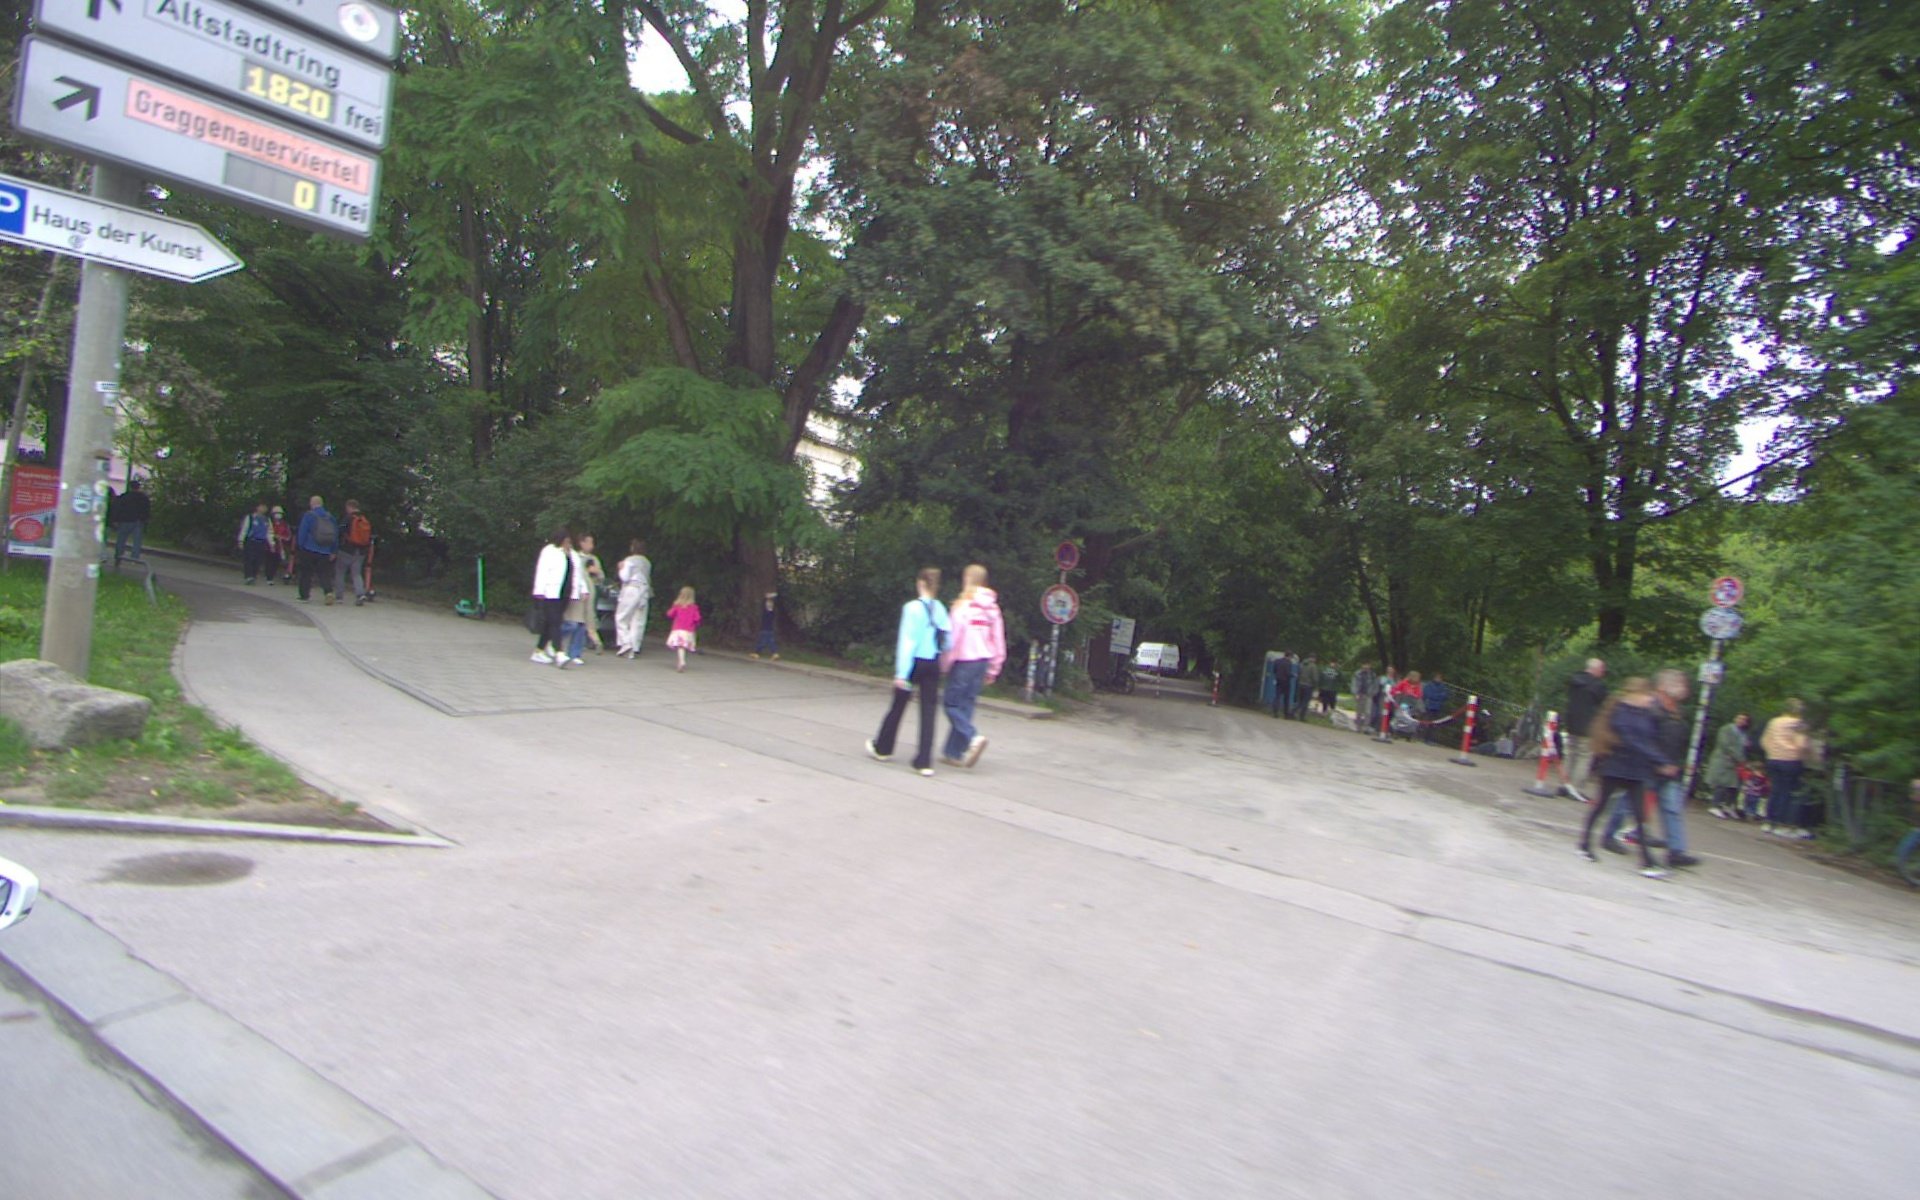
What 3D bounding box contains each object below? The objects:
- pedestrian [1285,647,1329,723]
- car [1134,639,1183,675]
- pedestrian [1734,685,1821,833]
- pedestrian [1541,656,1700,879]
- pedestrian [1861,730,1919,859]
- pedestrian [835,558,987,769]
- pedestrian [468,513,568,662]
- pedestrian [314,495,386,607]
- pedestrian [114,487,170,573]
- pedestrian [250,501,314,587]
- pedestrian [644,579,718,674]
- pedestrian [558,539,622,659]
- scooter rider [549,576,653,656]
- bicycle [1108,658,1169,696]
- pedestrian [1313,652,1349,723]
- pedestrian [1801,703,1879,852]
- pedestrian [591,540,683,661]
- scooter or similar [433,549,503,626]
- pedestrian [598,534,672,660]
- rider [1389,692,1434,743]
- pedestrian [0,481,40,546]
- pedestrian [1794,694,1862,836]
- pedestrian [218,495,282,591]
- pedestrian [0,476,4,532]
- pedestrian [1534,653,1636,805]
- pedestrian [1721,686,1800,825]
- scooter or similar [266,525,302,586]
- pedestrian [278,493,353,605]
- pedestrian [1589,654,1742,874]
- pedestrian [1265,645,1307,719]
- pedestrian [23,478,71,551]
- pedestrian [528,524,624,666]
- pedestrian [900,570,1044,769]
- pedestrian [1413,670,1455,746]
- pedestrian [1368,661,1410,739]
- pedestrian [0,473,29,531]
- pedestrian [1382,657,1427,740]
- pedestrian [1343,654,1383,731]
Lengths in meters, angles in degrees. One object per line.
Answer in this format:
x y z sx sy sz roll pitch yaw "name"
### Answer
8.286 2.020 24.029 0.600 1.716 0.693 7 -1 -1 "pedestrian"
17.750 5.069 90.075 2.115 2.690 5.474 7 -2 -11 "car"
10.531 2.038 12.963 0.516 1.784 0.564 7 -1 -27 "pedestrian"
5.154 1.277 7.890 0.600 1.596 0.693 7 -1 -3 "pedestrian"
11.706 2.415 12.547 0.405 1.491 0.513 7 -1 -36 "pedestrian"
-0.425 0.537 8.596 0.752 1.663 0.839 8 -1 -43 "pedestrian"
-5.272 -0.148 11.998 0.752 1.663 0.643 8 -1 -43 "pedestrian"
-10.751 -0.862 17.735 0.836 1.844 0.589 7 -1 33 "pedestrian"
-18.045 -1.550 22.189 0.784 1.784 0.608 7 -1 35 "pedestrian"
-14.090 -1.152 20.909 0.651 1.657 0.683 7 -1 20 "pedestrian"
-3.671 0.353 13.236 0.629 1.150 0.565 8 -1 -43 "pedestrian"
-5.120 -0.018 13.912 0.483 1.584 0.565 7 -1 -43 "pedestrian"
-5.313 0.240 14.888 1.096 0.996 0.857 7 -1 32 "scooter rider"
5.966 2.579 33.643 1.831 1.005 0.565 8 -1 -12 "bicycle"
9.426 2.220 25.590 0.600 1.716 0.693 7 -1 13 "pedestrian"
11.105 2.230 12.698 0.405 1.784 0.513 7 -1 -36 "pedestrian"
-4.568 0.013 14.222 0.858 1.584 0.682 7 -1 33 "pedestrian"
-8.685 -0.222 17.749 1.199 1.213 0.418 6 -1 32 "scooter or similar"
-4.594 -0.046 14.228 0.629 1.686 0.565 7 -1 -43 "pedestrian"
9.586 2.488 21.392 0.600 0.952 0.892 7 -1 13 "rider"
-26.198 -2.414 28.043 0.545 1.695 0.580 7 -1 35 "pedestrian"
11.392 2.158 13.203 0.523 1.784 0.432 7 -1 -37 "pedestrian"
-14.007 -1.128 19.846 0.752 1.757 0.839 8 -1 -43 "pedestrian"
-32.210 -3.216 33.172 0.710 1.833 0.596 6 2 8 "pedestrian"
7.594 1.542 12.250 0.600 1.716 0.693 7 -1 -3 "pedestrian"
10.877 2.107 13.671 0.606 1.784 0.546 7 -1 -36 "pedestrian"
-14.422 -0.942 21.473 0.301 1.239 0.923 6 0 -19 "scooter or similar"
-10.884 -0.858 16.988 0.752 1.757 0.839 8 -1 -43 "pedestrian"
5.850 1.328 8.380 0.600 1.671 0.693 7 -1 -1 "pedestrian"
8.071 2.021 24.913 0.600 1.716 0.693 7 -1 -3 "pedestrian"
-23.964 -2.254 26.417 0.770 1.795 0.631 7 -1 35 "pedestrian"
-4.818 -0.068 12.625 0.752 1.663 0.682 8 -1 -43 "pedestrian"
0.105 0.623 9.108 0.752 1.663 0.839 8 -1 -43 "pedestrian"
11.342 2.583 24.105 0.600 1.716 0.693 7 -1 13 "pedestrian"
10.044 2.330 23.579 0.600 1.716 0.693 7 -1 13 "pedestrian"
-31.414 -3.250 33.236 0.710 1.833 0.596 6 2 8 "pedestrian"
9.795 2.155 22.176 0.600 1.716 0.693 7 -1 13 "pedestrian"
9.446 2.157 23.598 0.600 1.716 0.693 7 -1 13 "pedestrian"
